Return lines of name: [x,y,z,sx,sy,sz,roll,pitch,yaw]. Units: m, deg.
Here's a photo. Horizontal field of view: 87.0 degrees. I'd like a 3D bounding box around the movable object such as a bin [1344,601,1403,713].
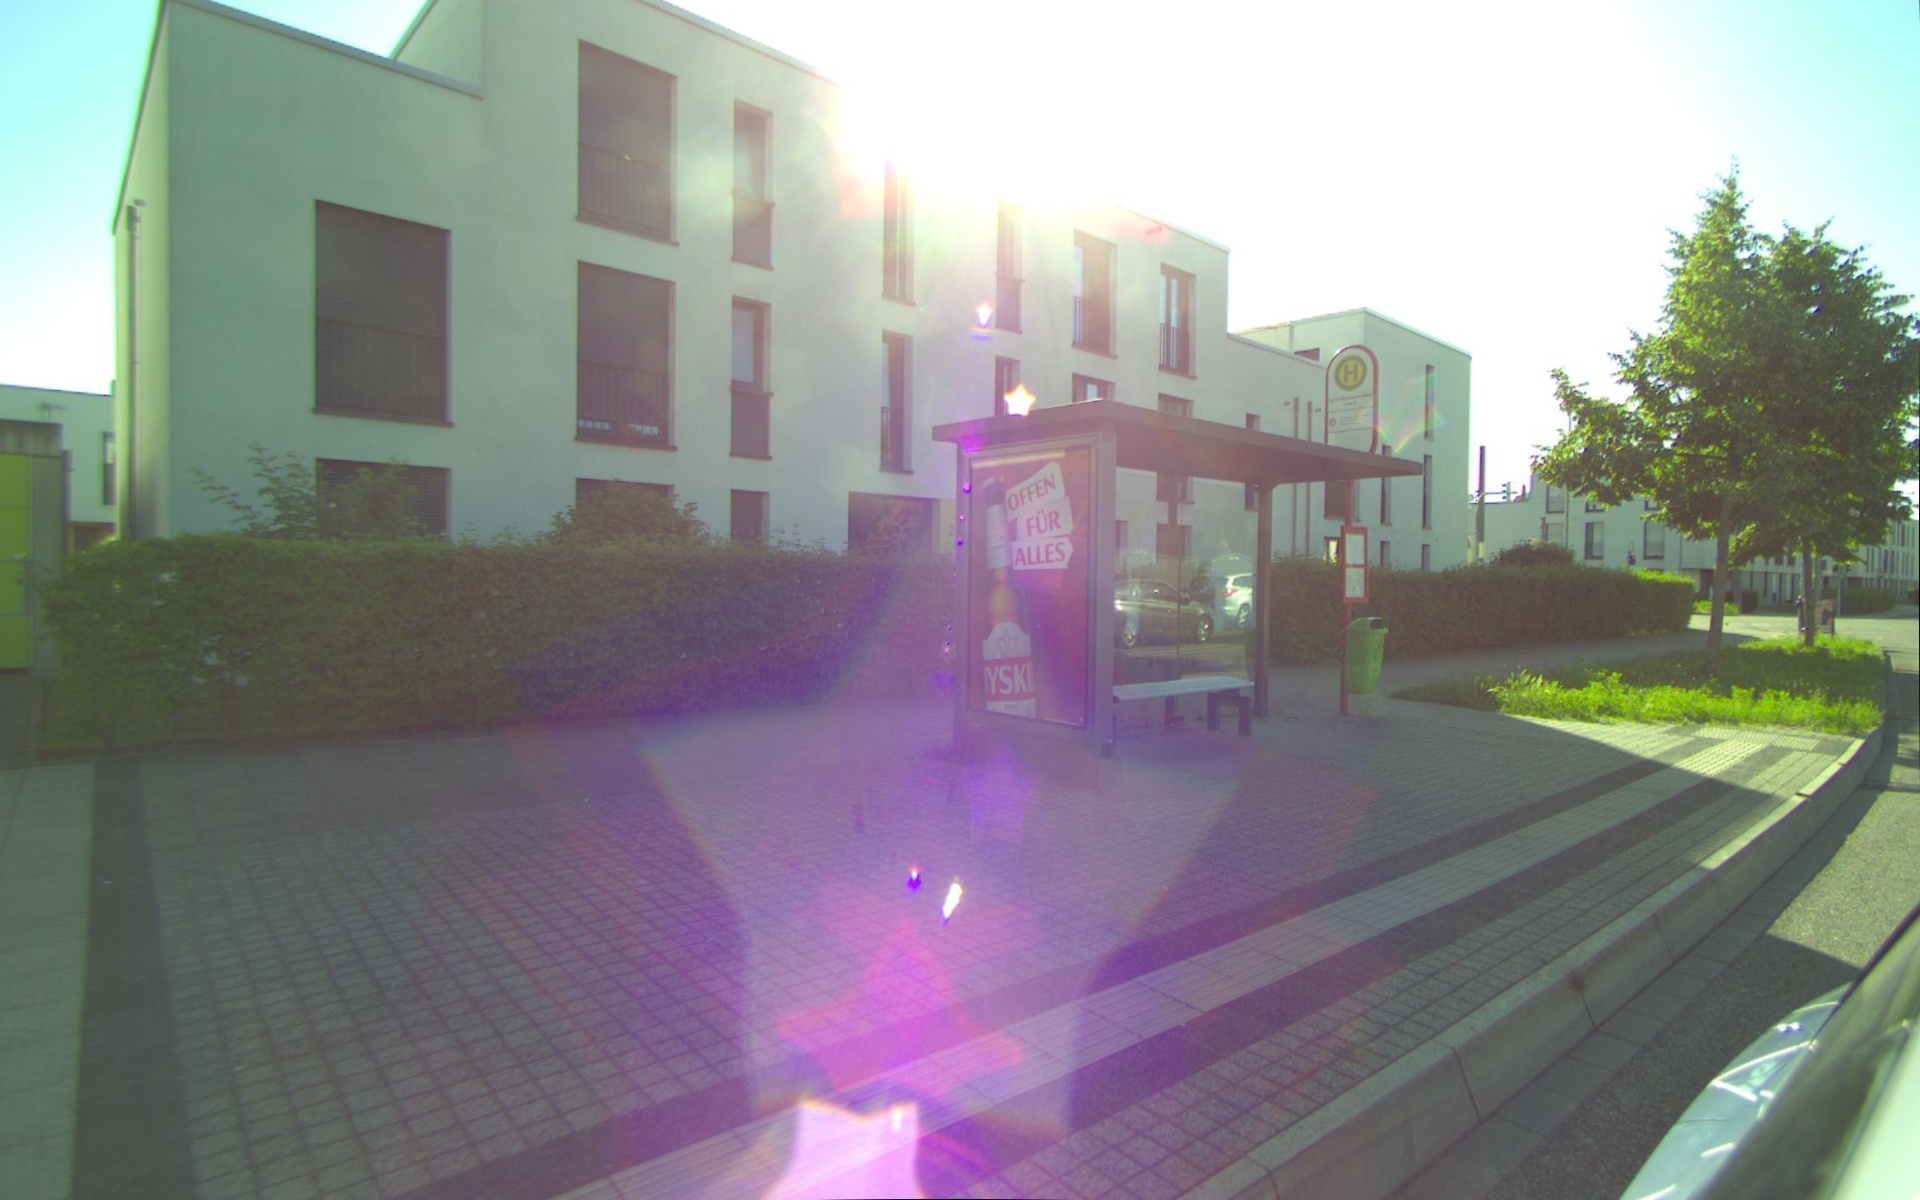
movable object such as a bin: [4.016,0.532,9.821,0.368,1.029,0.591,1,1,39]
